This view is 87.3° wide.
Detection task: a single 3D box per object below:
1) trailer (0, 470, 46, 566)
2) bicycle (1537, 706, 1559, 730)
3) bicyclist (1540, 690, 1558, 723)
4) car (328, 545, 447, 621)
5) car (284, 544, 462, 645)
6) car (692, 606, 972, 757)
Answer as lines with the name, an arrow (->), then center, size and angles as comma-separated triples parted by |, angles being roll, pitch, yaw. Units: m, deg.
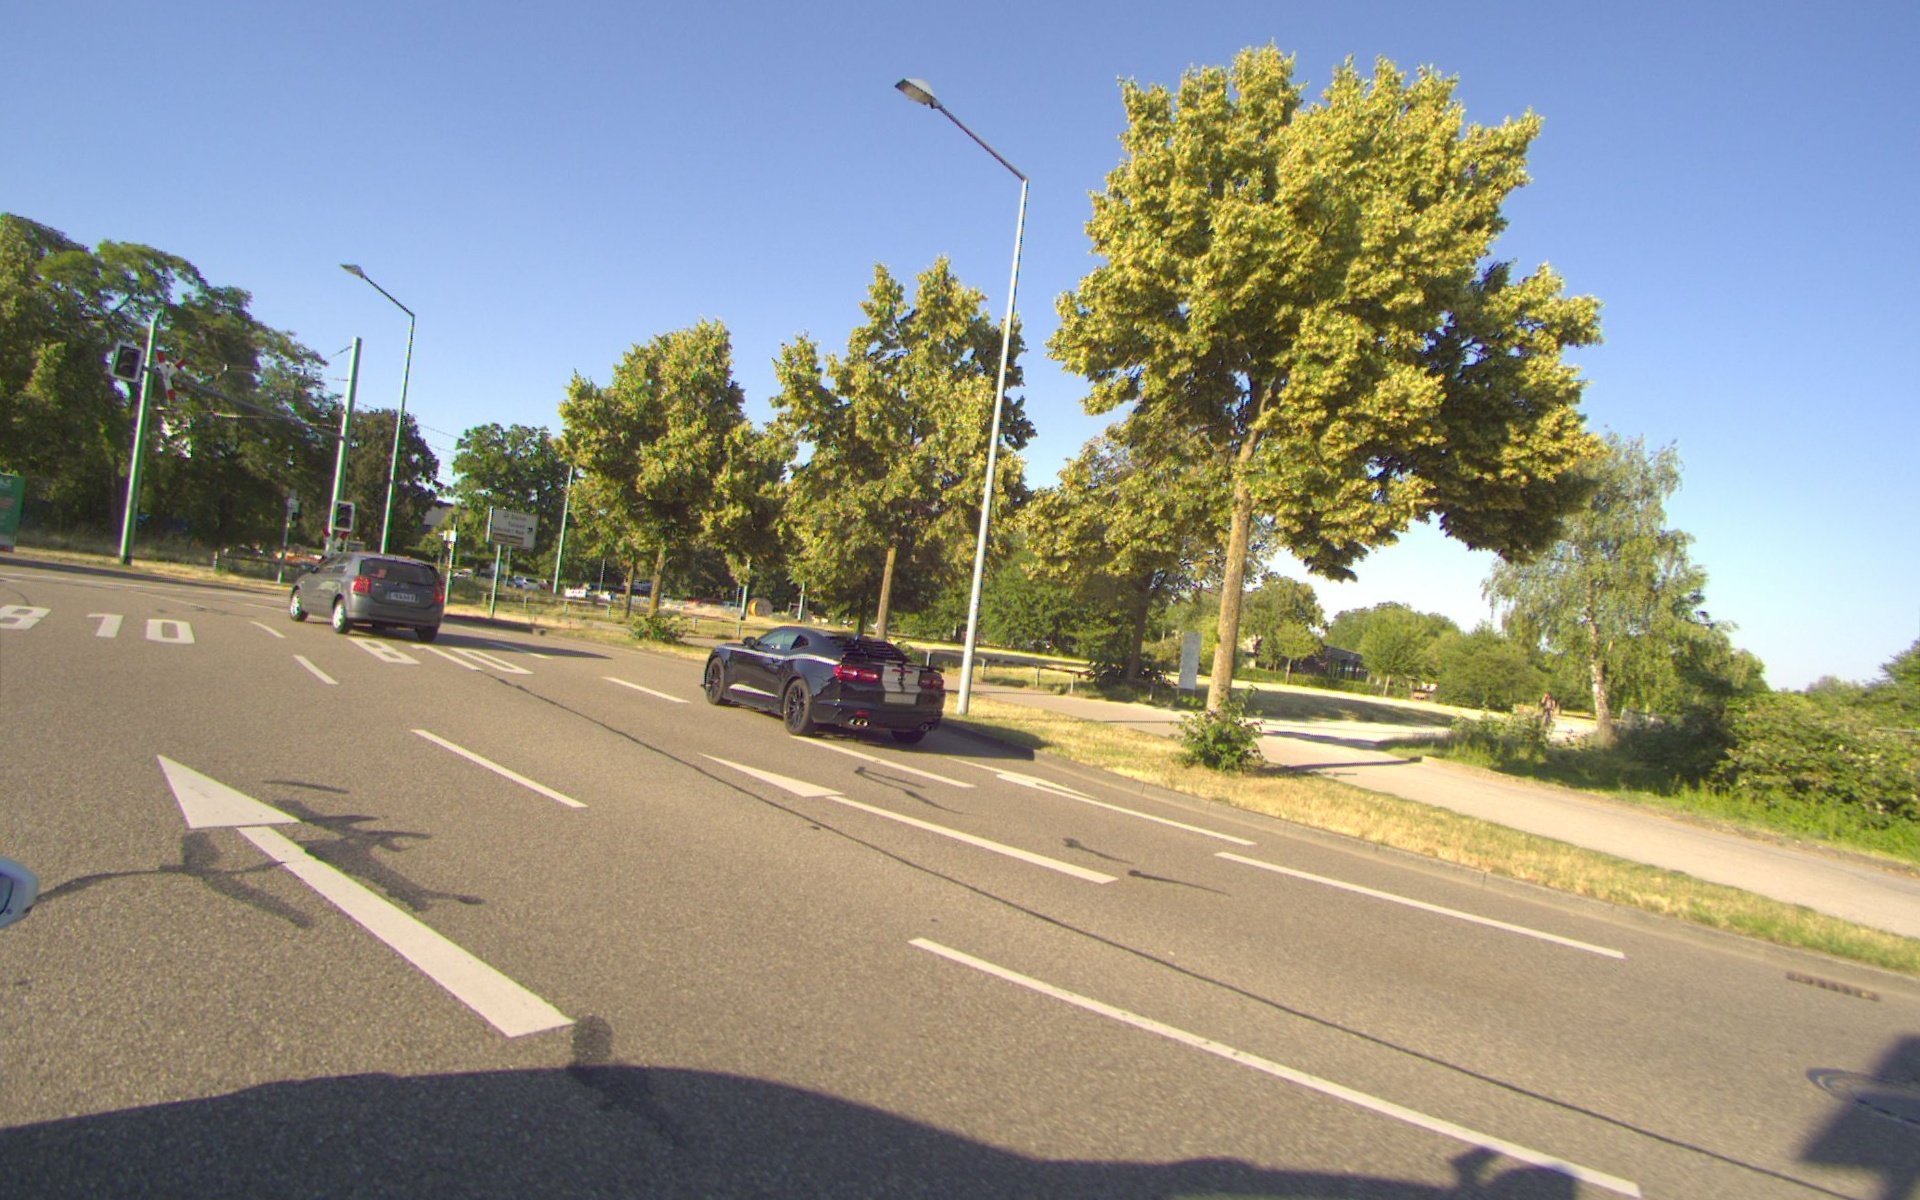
trailer -> -27.149, -2.426, 26.913 | 3.434, 2.427, 2.100 | 7, -2, 9
bicycle -> 27.638, 5.552, 47.297 | 0.502, 1.032, 2.037 | 5, -3, 40
bicyclist -> 27.736, 5.027, 47.371 | 0.503, 1.493, 0.618 | 5, -2, 40
car -> -15.703, -0.483, 27.522 | 3.770, 1.640, 1.744 | 6, -1, 44
car -> -11.296, -0.136, 19.262 | 3.767, 1.491, 1.745 | 6, -1, 42
car -> -1.969, 1.031, 13.988 | 1.844, 1.353, 4.581 | 9, -2, -35
